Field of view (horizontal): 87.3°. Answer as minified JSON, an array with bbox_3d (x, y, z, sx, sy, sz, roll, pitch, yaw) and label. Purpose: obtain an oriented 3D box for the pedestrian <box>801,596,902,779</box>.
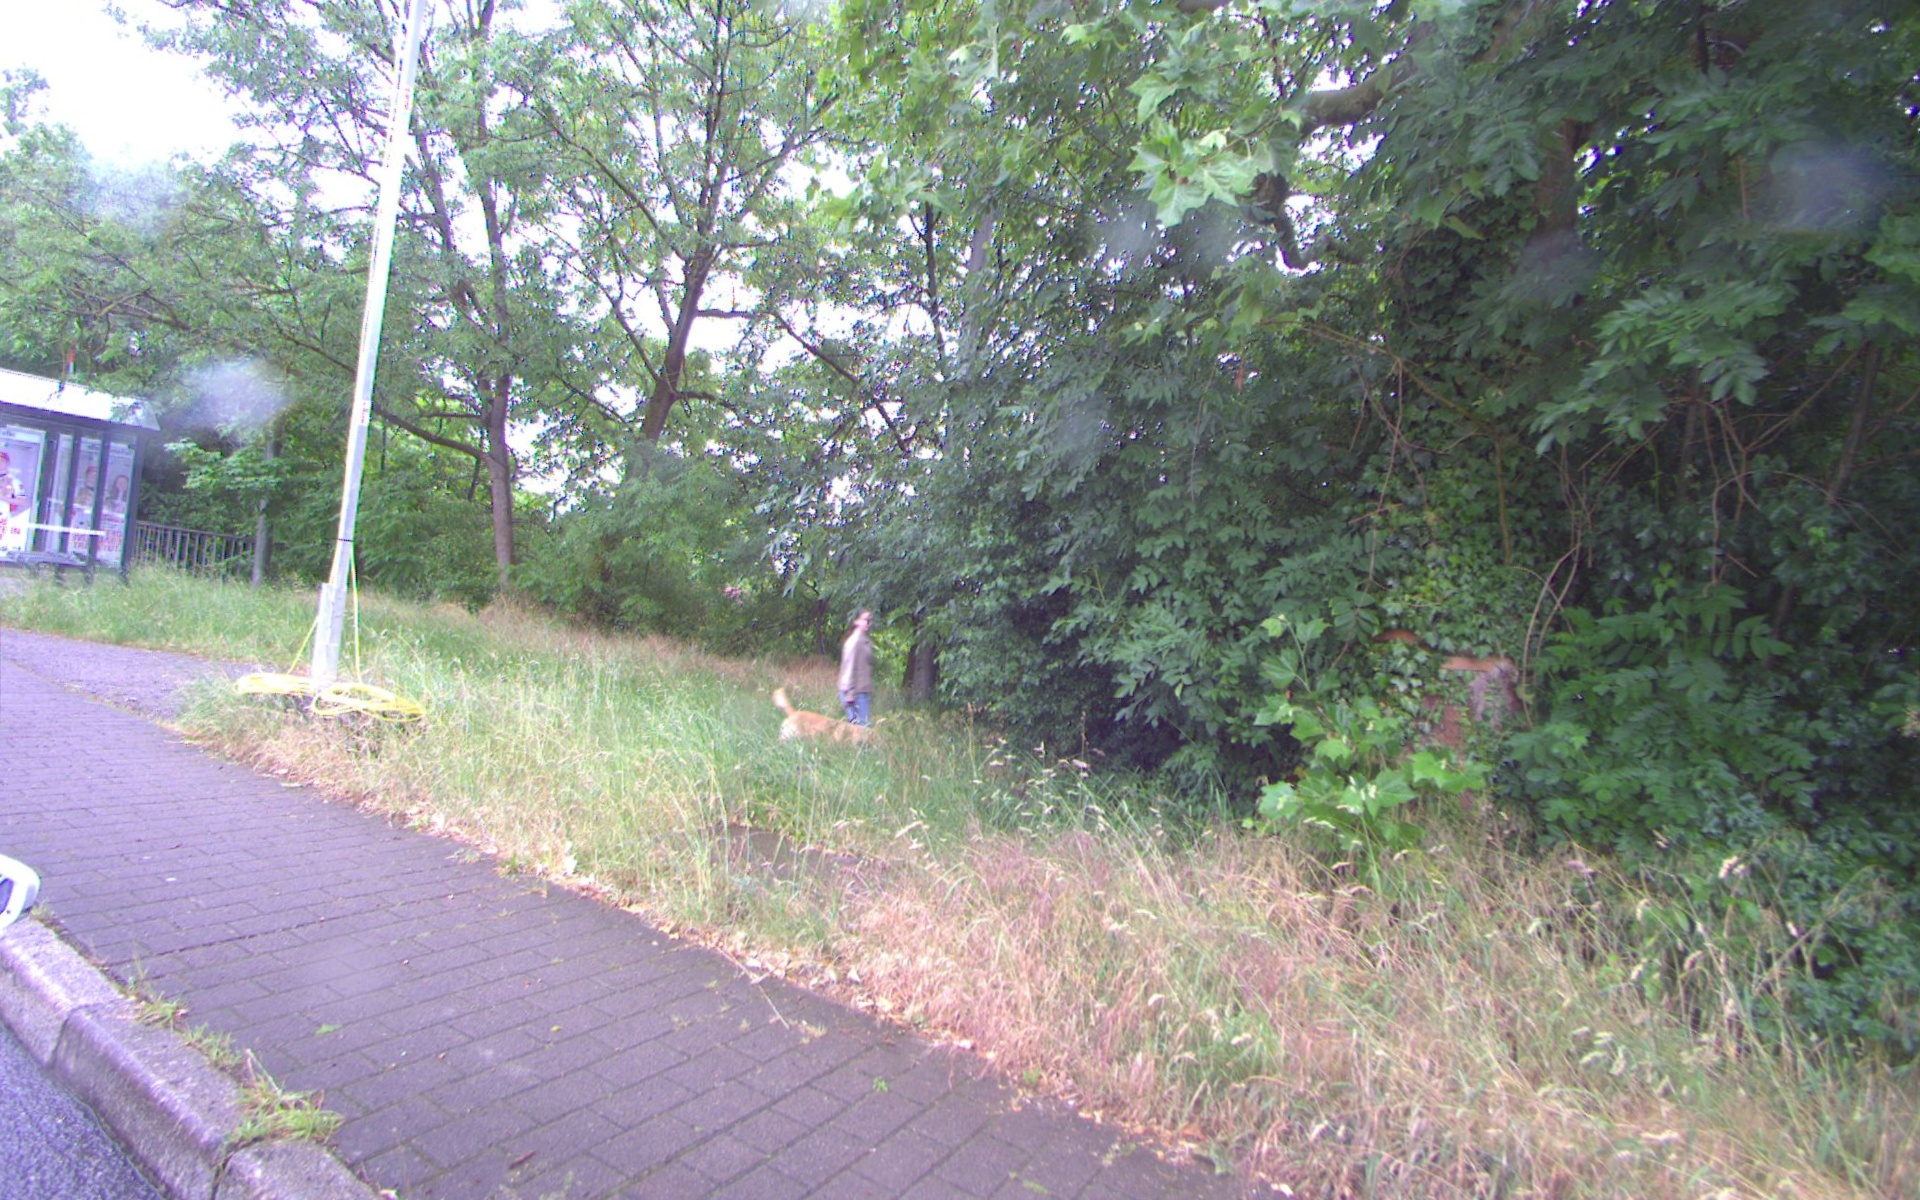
[{"bbox_3d":[-1.045,0.831,9.739,0.739,1.622,0.732,7,-1,-6],"label":"pedestrian"}]
